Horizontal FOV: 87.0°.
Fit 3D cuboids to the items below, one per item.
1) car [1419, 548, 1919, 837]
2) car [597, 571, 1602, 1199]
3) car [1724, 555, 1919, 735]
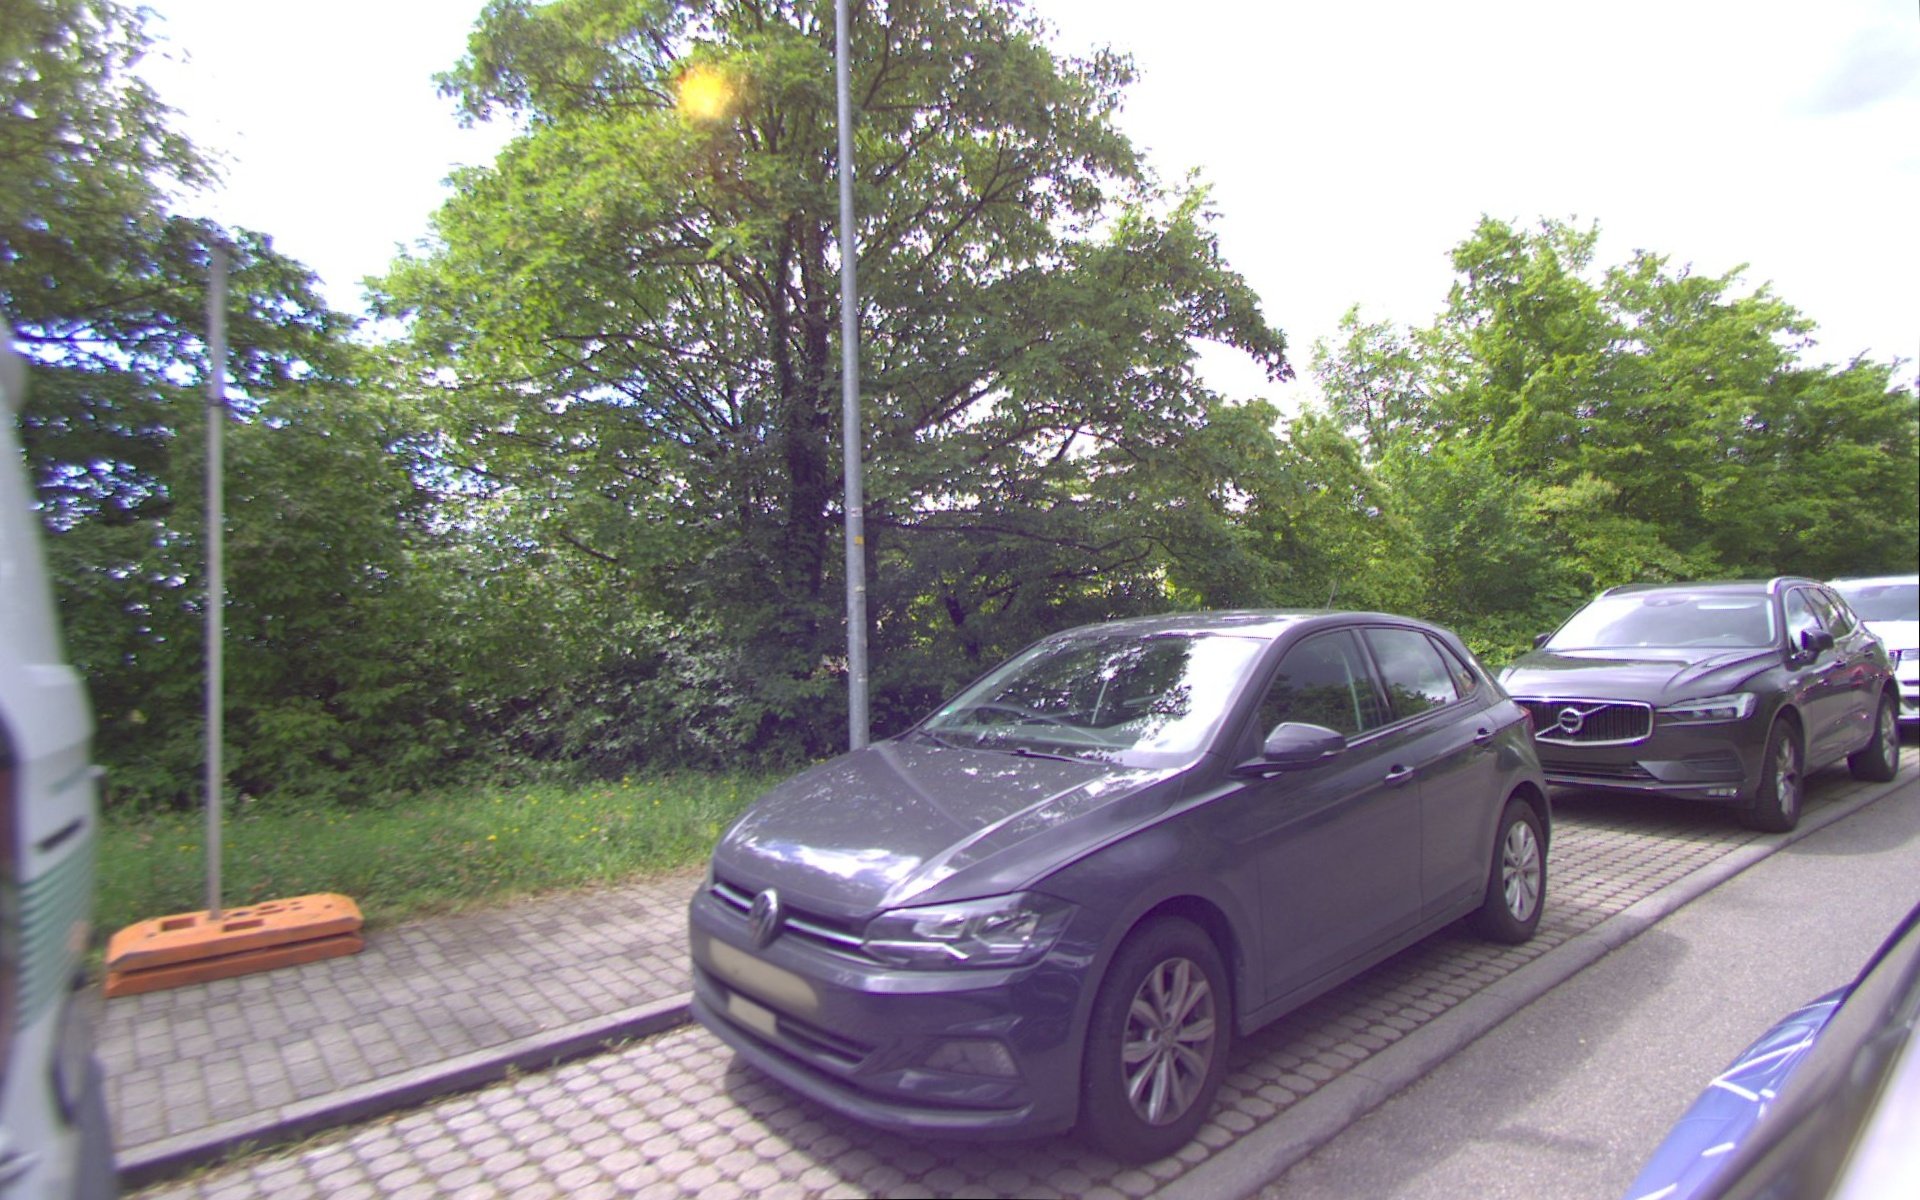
[{"bbox_3d":[5.647,0.528,7.847,4.198,1.647,1.999,0,-1,-36],"label":"car"},{"bbox_3d":[0.836,0.700,4.072,3.930,1.483,1.800,-1,-3,-41],"label":"car"},{"bbox_3d":[10.705,0.439,11.383,4.491,1.711,1.877,-1,-4,-34],"label":"car"}]
